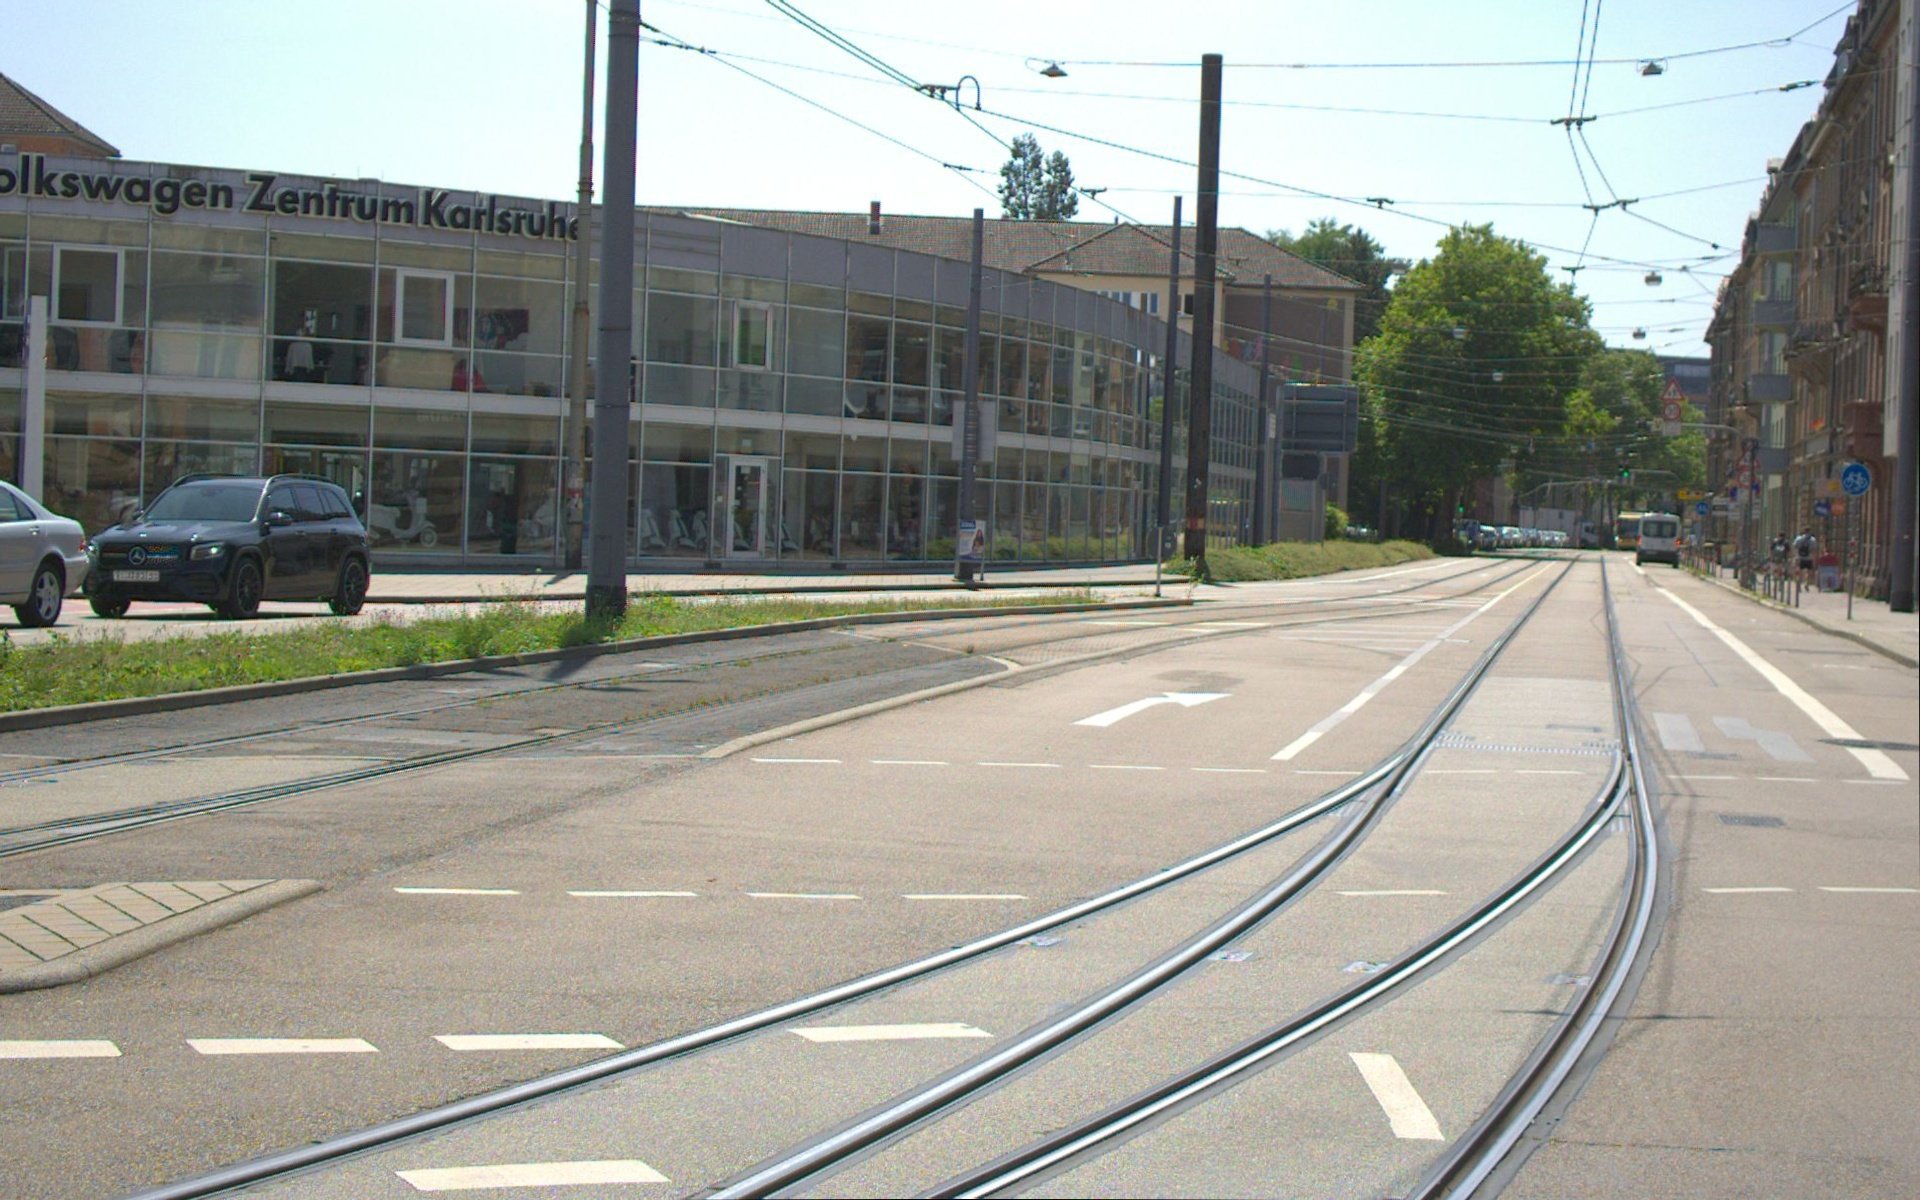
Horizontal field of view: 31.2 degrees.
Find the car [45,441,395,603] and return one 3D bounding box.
[{"bbox_3d":[-8.483,-0.914,39.910,2.080,1.677,4.844,3,2,13],"label":"car"}]

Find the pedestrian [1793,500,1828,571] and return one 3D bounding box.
[{"bbox_3d":[24.563,-1.860,99.264,0.768,2.007,0.664,4,1,8],"label":"pedestrian"}]

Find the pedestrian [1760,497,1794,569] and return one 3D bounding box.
[{"bbox_3d":[23.616,-1.933,99.382,0.768,2.007,0.664,4,1,8],"label":"pedestrian"}]

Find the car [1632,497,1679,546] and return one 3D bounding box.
[{"bbox_3d":[33.555,-3.783,166.029,1.994,2.173,4.367,4,1,10],"label":"car"}]

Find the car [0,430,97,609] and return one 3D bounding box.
[{"bbox_3d":[-10.314,-0.813,33.115,1.995,1.733,4.541,3,2,13],"label":"car"}]
